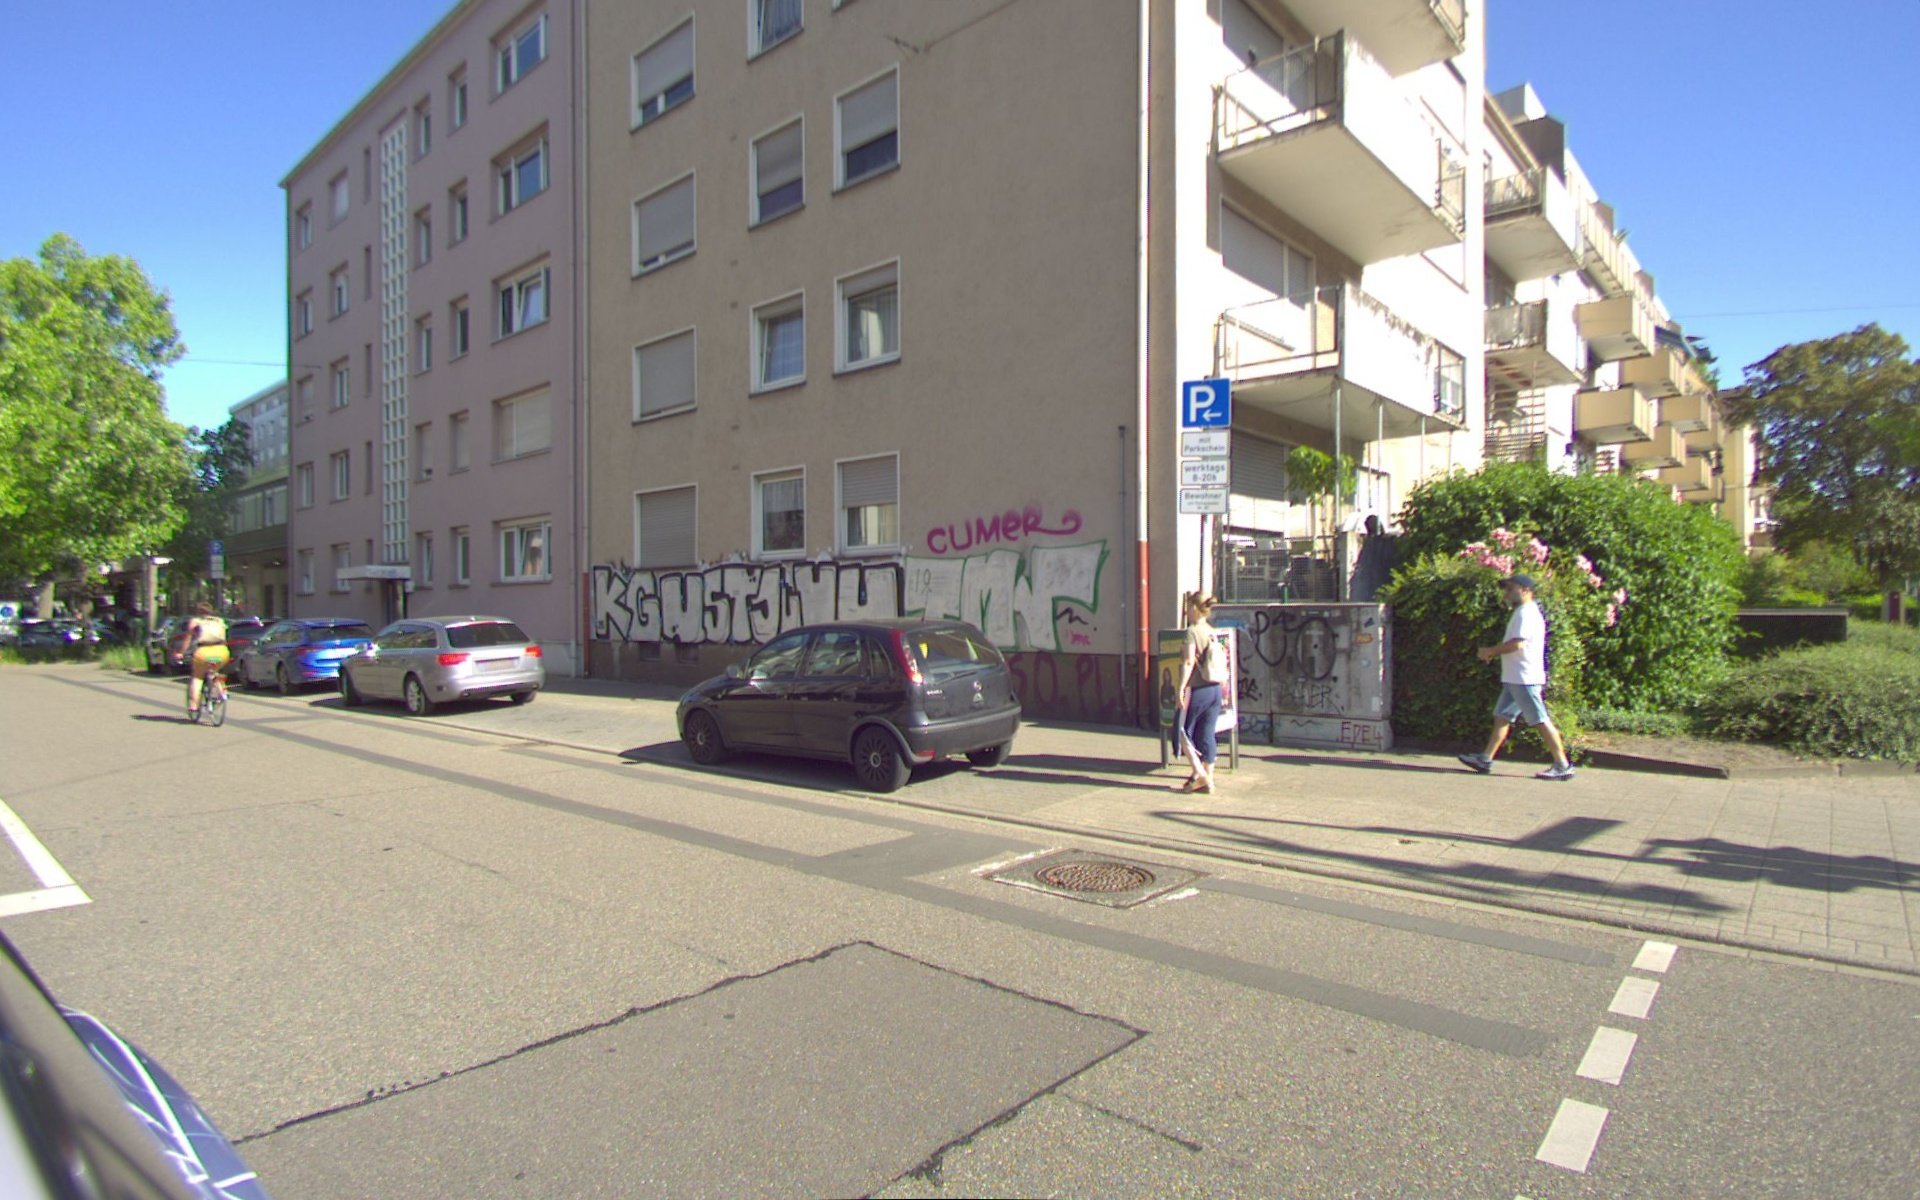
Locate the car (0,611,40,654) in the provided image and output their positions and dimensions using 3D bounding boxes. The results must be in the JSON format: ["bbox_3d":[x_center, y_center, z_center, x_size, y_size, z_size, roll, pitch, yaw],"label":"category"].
[{"bbox_3d":[-46.528,1.557,48.248,1.913,2.058,3.824,-2,-1,43],"label":"car"}]

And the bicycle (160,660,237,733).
[{"bbox_3d":[-10.821,1.341,14.362,1.825,0.909,0.537,-1,-1,42],"label":"bicycle"}]

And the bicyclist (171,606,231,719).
[{"bbox_3d":[-10.673,0.854,14.229,0.774,1.532,0.537,-2,-1,42],"label":"bicyclist"}]

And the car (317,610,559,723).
[{"bbox_3d":[-8.679,0.998,16.623,4.798,1.514,1.805,-1,1,40],"label":"car"}]

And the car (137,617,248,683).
[{"bbox_3d":[-21.156,1.326,27.835,4.158,1.588,1.704,-1,1,43],"label":"car"}]

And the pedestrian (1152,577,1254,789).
[{"bbox_3d":[1.925,0.631,8.020,0.525,1.593,0.563,0,-1,-41],"label":"pedestrian"}]

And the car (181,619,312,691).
[{"bbox_3d":[-17.102,1.250,24.189,4.158,1.478,1.704,-1,1,43],"label":"car"}]

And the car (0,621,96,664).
[{"bbox_3d":[-35.995,1.629,39.012,1.913,1.564,3.943,-2,-1,44],"label":"car"}]

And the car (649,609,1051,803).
[{"bbox_3d":[-1.187,0.875,9.852,3.854,1.459,1.674,-1,1,40],"label":"car"}]

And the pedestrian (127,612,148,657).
[{"bbox_3d":[-33.790,1.420,41.584,0.502,1.820,0.615,-2,-1,42],"label":"pedestrian"}]

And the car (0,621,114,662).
[{"bbox_3d":[-37.733,1.697,41.927,1.913,1.564,3.943,-2,-1,44],"label":"car"}]

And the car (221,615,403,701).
[{"bbox_3d":[-13.497,1.128,20.962,4.798,1.514,1.805,-1,1,40],"label":"car"}]

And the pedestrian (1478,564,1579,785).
[{"bbox_3d":[4.627,0.583,8.236,0.667,1.701,0.568,-1,-1,32],"label":"pedestrian"}]
